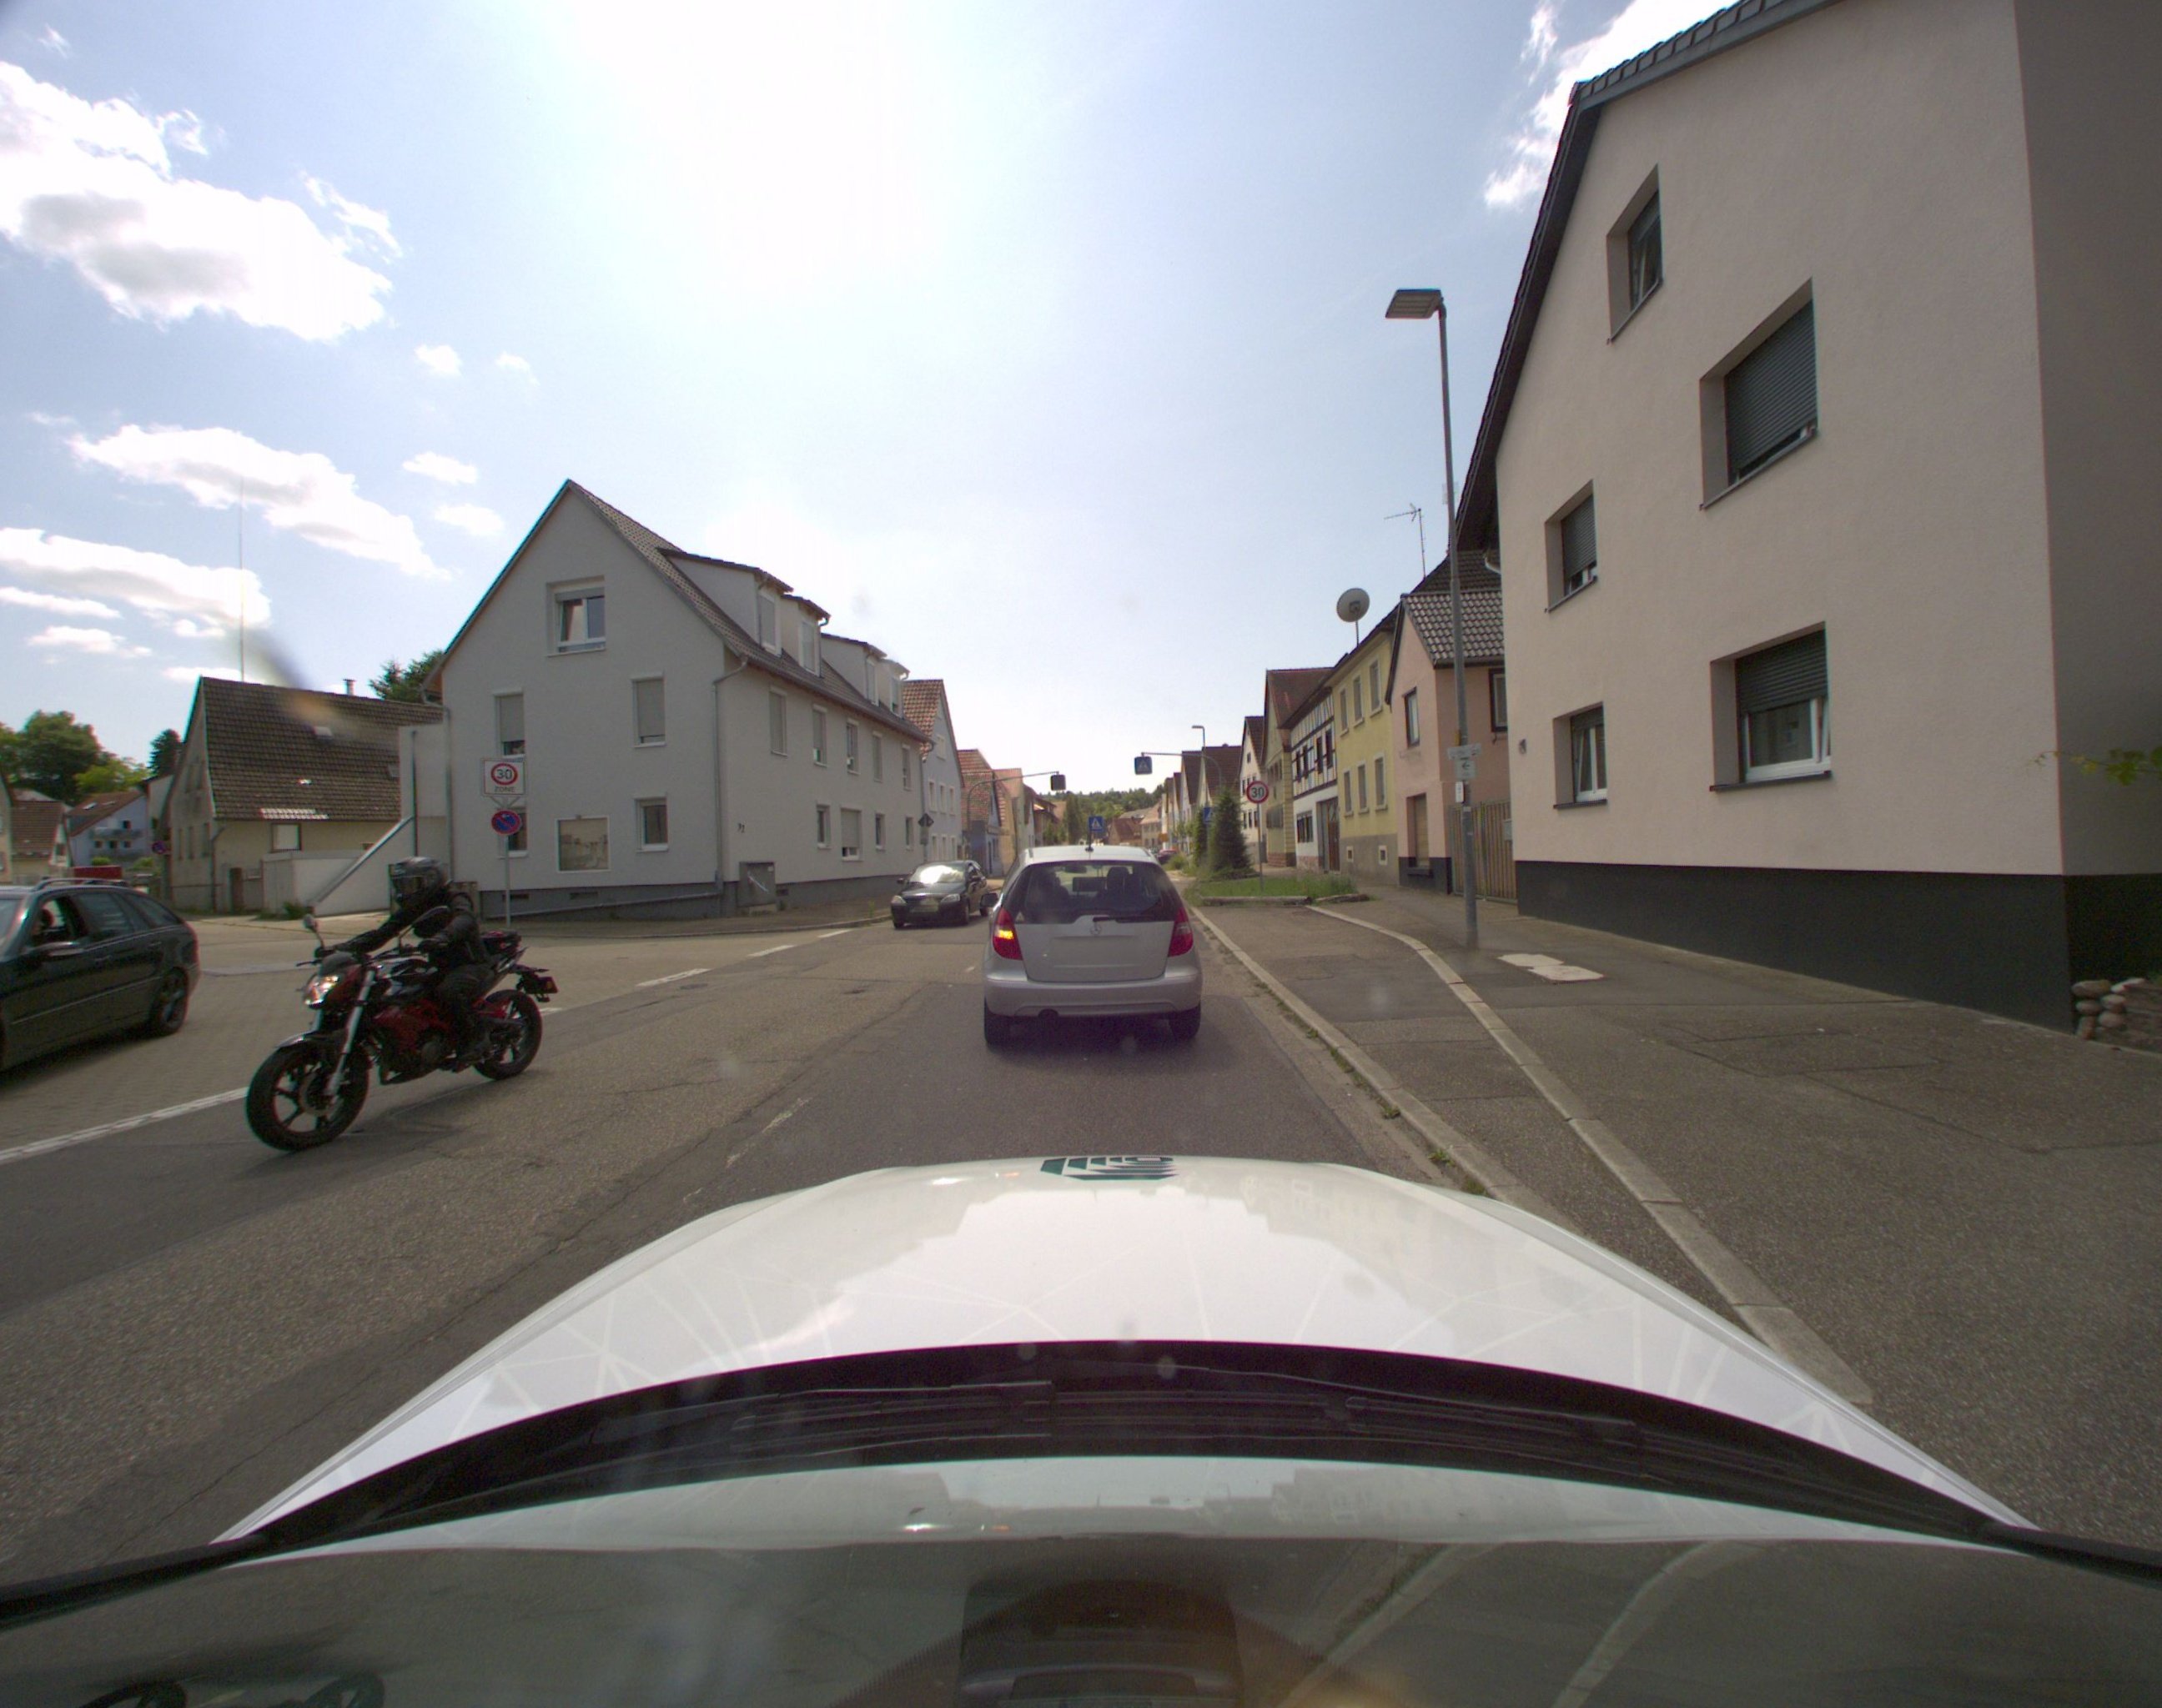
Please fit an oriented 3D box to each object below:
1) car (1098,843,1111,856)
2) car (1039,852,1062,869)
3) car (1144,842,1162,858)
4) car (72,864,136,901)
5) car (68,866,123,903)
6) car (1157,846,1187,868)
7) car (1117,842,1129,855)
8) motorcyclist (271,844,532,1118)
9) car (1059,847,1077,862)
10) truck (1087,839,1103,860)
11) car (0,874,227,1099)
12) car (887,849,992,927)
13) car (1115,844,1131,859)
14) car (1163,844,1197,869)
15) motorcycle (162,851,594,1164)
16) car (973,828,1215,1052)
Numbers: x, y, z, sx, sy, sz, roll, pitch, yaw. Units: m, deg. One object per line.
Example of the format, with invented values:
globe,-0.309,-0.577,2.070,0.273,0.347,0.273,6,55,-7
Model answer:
car,3.945,-0.802,137.628,1.985,2.014,4.004,-1,-2,4
car,-2.764,0.603,73.309,1.989,1.321,3.704,-1,-2,-3
car,9.355,-0.506,105.772,1.986,1.816,4.001,-1,-2,1
car,-42.047,1.227,35.021,3.431,1.530,1.500,-3,-2,36
car,-46.267,1.452,38.224,3.431,1.635,1.406,-3,-2,36
car,6.903,0.260,62.312,1.985,1.508,4.002,-1,-2,2
car,7.153,-0.862,138.599,1.986,2.014,4.002,-1,-2,2
motorcyclist,-4.155,0.725,5.055,0.892,1.554,0.808,-1,0,3
car,-1.449,0.078,91.994,1.660,1.596,4.002,-1,-2,3
truck,1.874,-0.544,105.884,1.986,2.537,6.741,-1,-2,2
car,-8.296,0.893,5.850,1.820,1.412,4.590,0,-2,-31
car,-3.106,0.746,18.548,1.493,1.540,3.859,-1,-2,3
car,5.512,-0.322,108.421,1.986,1.816,4.001,-1,-2,1
car,6.710,0.199,55.564,1.985,1.508,4.002,-1,-2,2
motorcycle,-4.161,0.781,5.115,0.876,1.561,1.969,-1,0,4
car,-0.033,0.646,7.920,1.807,1.643,3.723,0,-1,-4
